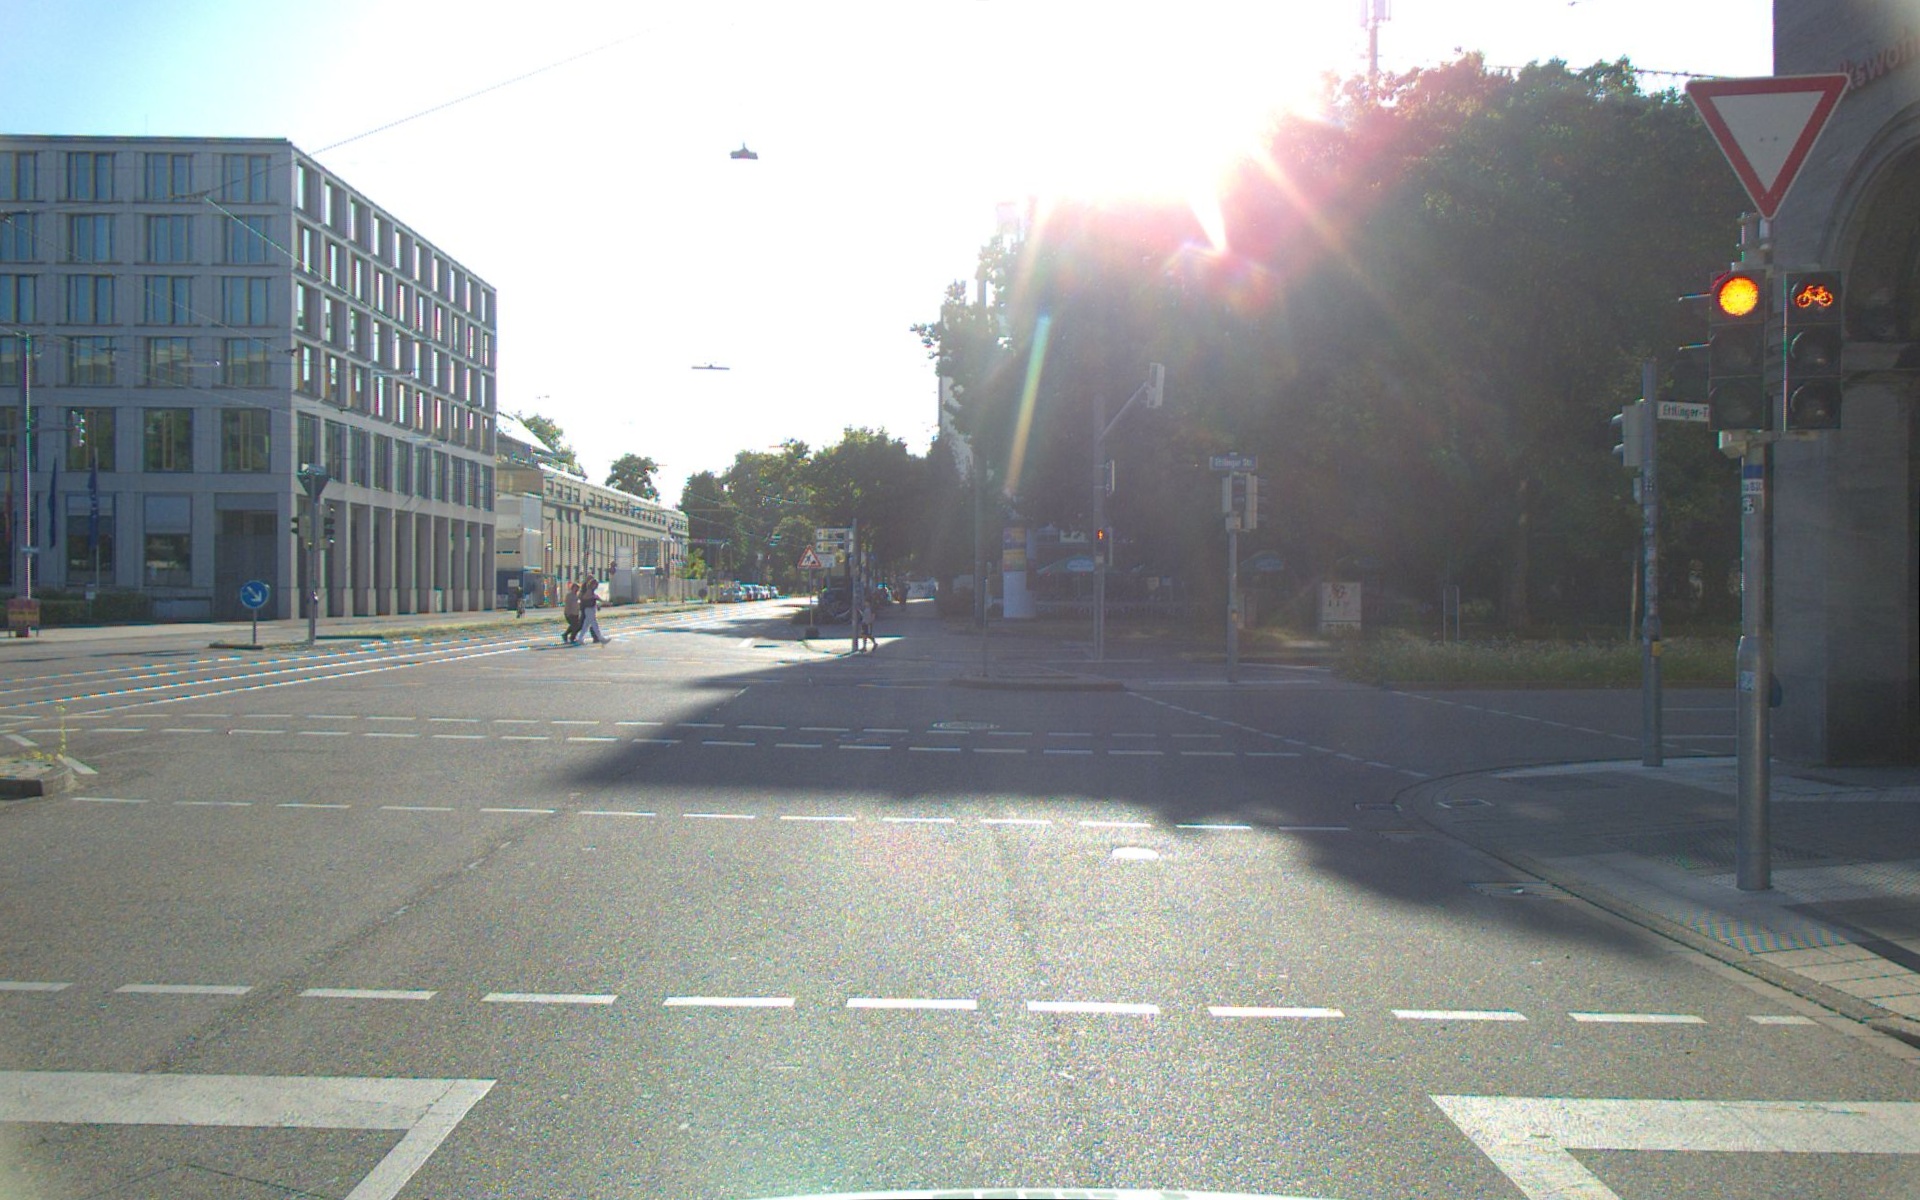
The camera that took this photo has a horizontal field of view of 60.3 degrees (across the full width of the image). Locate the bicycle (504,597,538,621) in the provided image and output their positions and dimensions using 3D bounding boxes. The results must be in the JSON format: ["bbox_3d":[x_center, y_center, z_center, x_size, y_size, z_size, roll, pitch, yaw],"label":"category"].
[{"bbox_3d":[-22.022,0.439,82.995,0.857,1.140,3.013,0,0,0],"label":"bicycle"}]

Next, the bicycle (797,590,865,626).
[{"bbox_3d":[-5.226,0.334,67.044,2.688,1.391,0.631,1,-1,10],"label":"bicycle"}]

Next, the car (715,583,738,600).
[{"bbox_3d":[-22.515,-0.810,159.699,1.695,1.682,3.999,0,0,-1],"label":"car"}]

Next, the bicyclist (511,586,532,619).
[{"bbox_3d":[-22.010,0.124,83.011,0.857,1.670,0.822,0,0,0],"label":"bicyclist"}]

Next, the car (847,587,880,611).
[{"bbox_3d":[-5.352,-0.058,92.136,1.783,1.301,3.998,0,0,-3],"label":"car"}]

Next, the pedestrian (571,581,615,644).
[{"bbox_3d":[-9.522,0.325,42.943,0.964,1.615,0.660,0,-1,1],"label":"pedestrian"}]

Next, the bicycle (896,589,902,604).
[{"bbox_3d":[-3.711,-0.202,100.236,0.317,0.883,1.483,0,0,-1],"label":"bicycle"}]

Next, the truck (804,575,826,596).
[{"bbox_3d":[-14.470,-1.438,164.972,1.876,2.129,3.999,0,0,-1],"label":"truck"}]

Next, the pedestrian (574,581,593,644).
[{"bbox_3d":[-10.178,0.326,44.684,0.432,1.692,0.376,0,0,-2],"label":"pedestrian"}]

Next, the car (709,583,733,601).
[{"bbox_3d":[-22.476,-0.743,155.749,1.695,1.682,3.999,0,0,-1],"label":"car"}]

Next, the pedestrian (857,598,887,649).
[{"bbox_3d":[-2.352,0.615,44.371,0.737,1.356,0.742,0,0,0],"label":"pedestrian"}]

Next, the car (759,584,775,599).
[{"bbox_3d":[-22.652,-0.971,194.185,1.453,1.780,3.999,0,0,-1],"label":"car"}]

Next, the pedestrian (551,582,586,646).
[{"bbox_3d":[-10.333,0.362,43.616,0.779,1.668,0.533,0,0,2],"label":"pedestrian"}]

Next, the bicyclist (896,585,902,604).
[{"bbox_3d":[-3.704,-0.335,100.223,0.312,1.147,0.291,0,0,-1],"label":"bicyclist"}]
